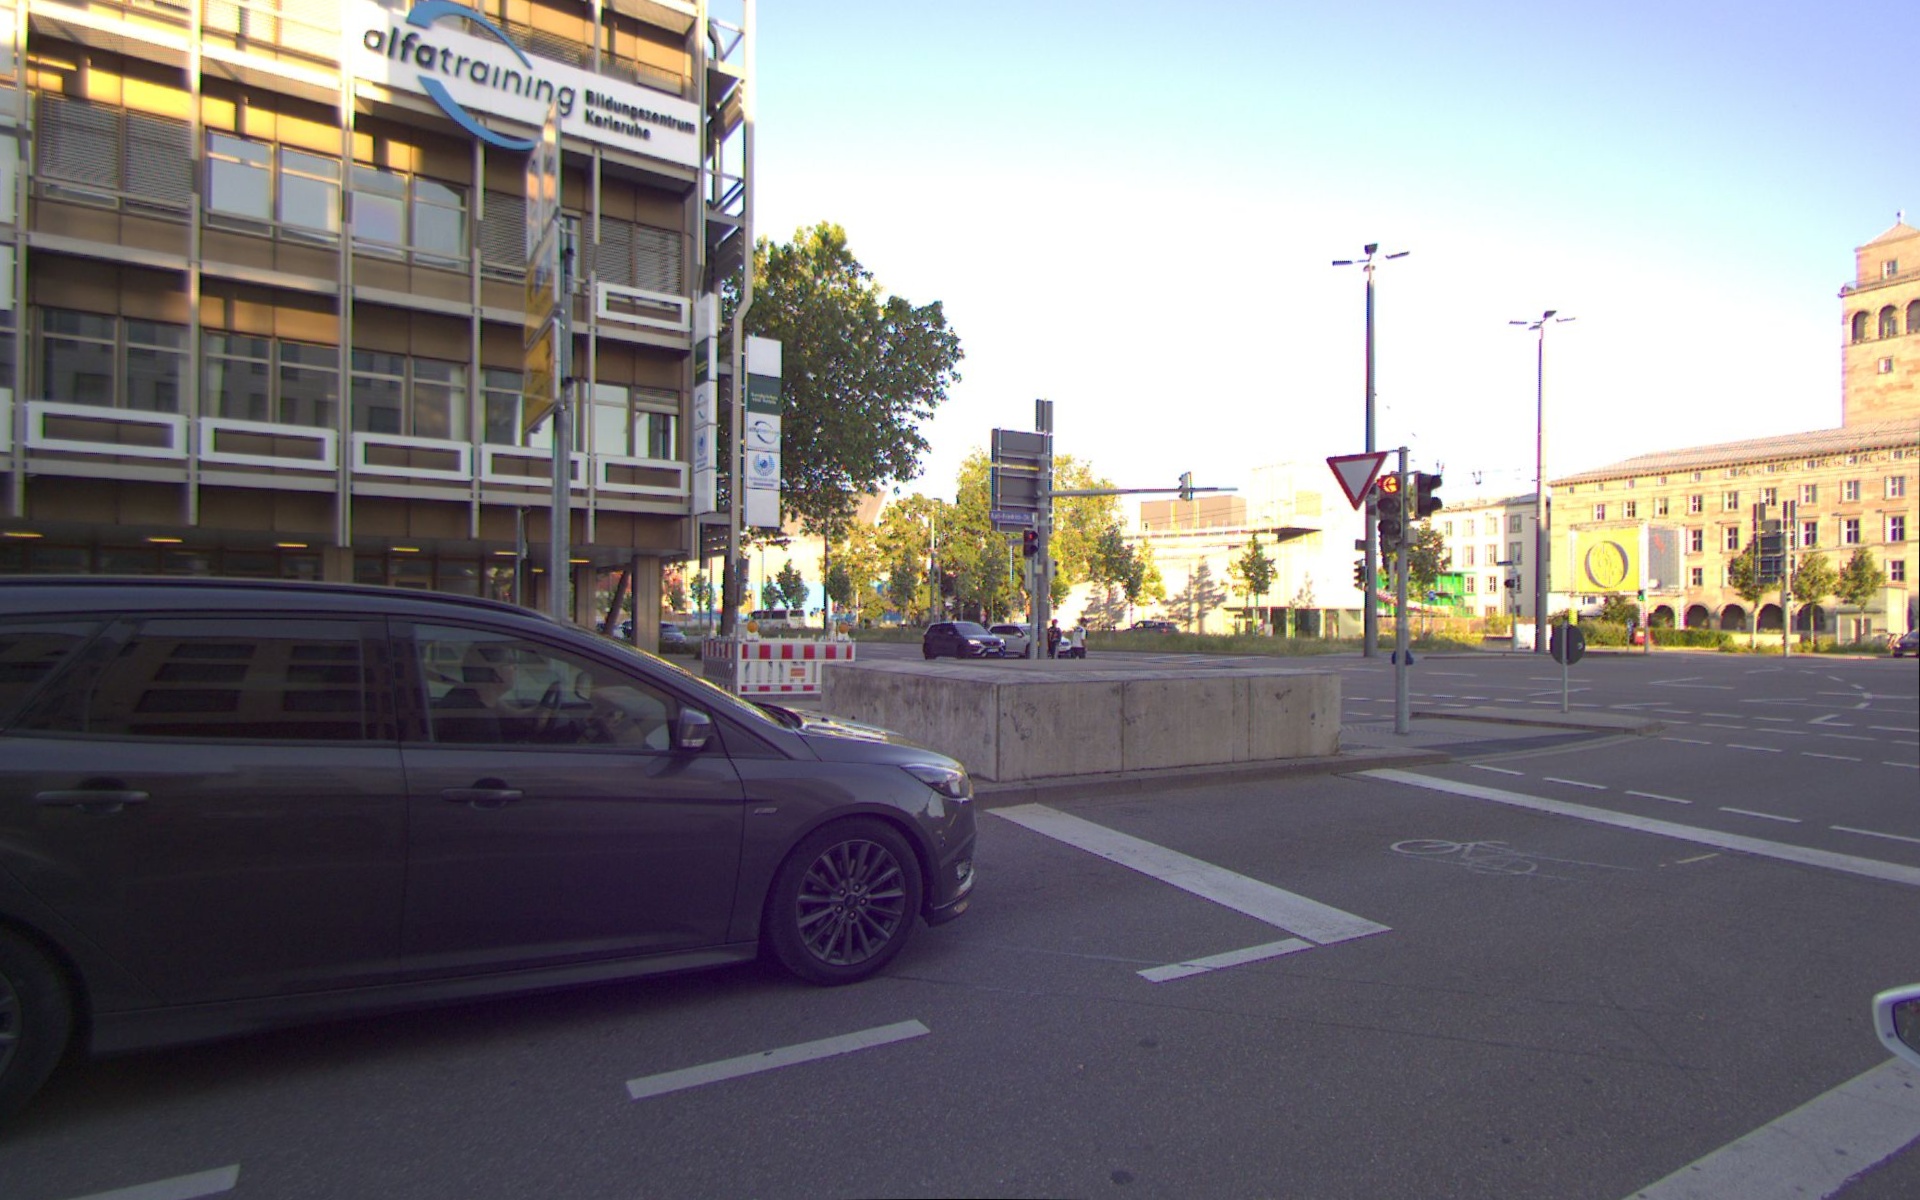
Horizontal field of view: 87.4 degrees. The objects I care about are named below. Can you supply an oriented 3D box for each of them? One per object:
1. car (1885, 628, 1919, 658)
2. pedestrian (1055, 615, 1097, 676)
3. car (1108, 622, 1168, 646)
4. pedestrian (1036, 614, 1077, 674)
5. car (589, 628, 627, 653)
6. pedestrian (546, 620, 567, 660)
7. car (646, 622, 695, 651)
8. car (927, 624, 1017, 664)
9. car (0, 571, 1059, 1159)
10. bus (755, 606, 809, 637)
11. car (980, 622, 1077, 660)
[{"bbox_3d":[51.190,2.270,53.514,4.111,1.485,1.813,0,-1,-32],"label":"car"},{"bbox_3d":[3.386,1.308,29.319,0.949,1.744,0.816,1,-1,-34],"label":"pedestrian"},{"bbox_3d":[12.173,2.300,68.867,1.727,1.626,4.095,1,-1,-34],"label":"car"},{"bbox_3d":[2.888,1.297,30.086,0.949,1.744,0.816,1,-1,-34],"label":"pedestrian"},{"bbox_3d":[-24.481,2.804,69.810,1.722,1.605,3.764,0,-1,-31],"label":"car"},{"bbox_3d":[-18.728,1.847,46.648,0.749,1.830,0.715,2,0,-35],"label":"pedestrian"},{"bbox_3d":[-17.042,2.141,59.087,1.722,1.605,4.554,0,-1,-30],"label":"car"},{"bbox_3d":[0.411,1.709,39.911,1.829,1.476,3.921,0,-1,-30],"label":"car"},{"bbox_3d":[-1.881,0.670,3.870,4.330,1.482,1.748,1,1,-31],"label":"car"},{"bbox_3d":[-23.169,2.740,130.042,2.959,3.818,10.341,1,-1,-34],"label":"bus"},{"bbox_3d":[2.799,1.664,41.950,1.829,1.476,4.555,0,-1,-30],"label":"car"}]
